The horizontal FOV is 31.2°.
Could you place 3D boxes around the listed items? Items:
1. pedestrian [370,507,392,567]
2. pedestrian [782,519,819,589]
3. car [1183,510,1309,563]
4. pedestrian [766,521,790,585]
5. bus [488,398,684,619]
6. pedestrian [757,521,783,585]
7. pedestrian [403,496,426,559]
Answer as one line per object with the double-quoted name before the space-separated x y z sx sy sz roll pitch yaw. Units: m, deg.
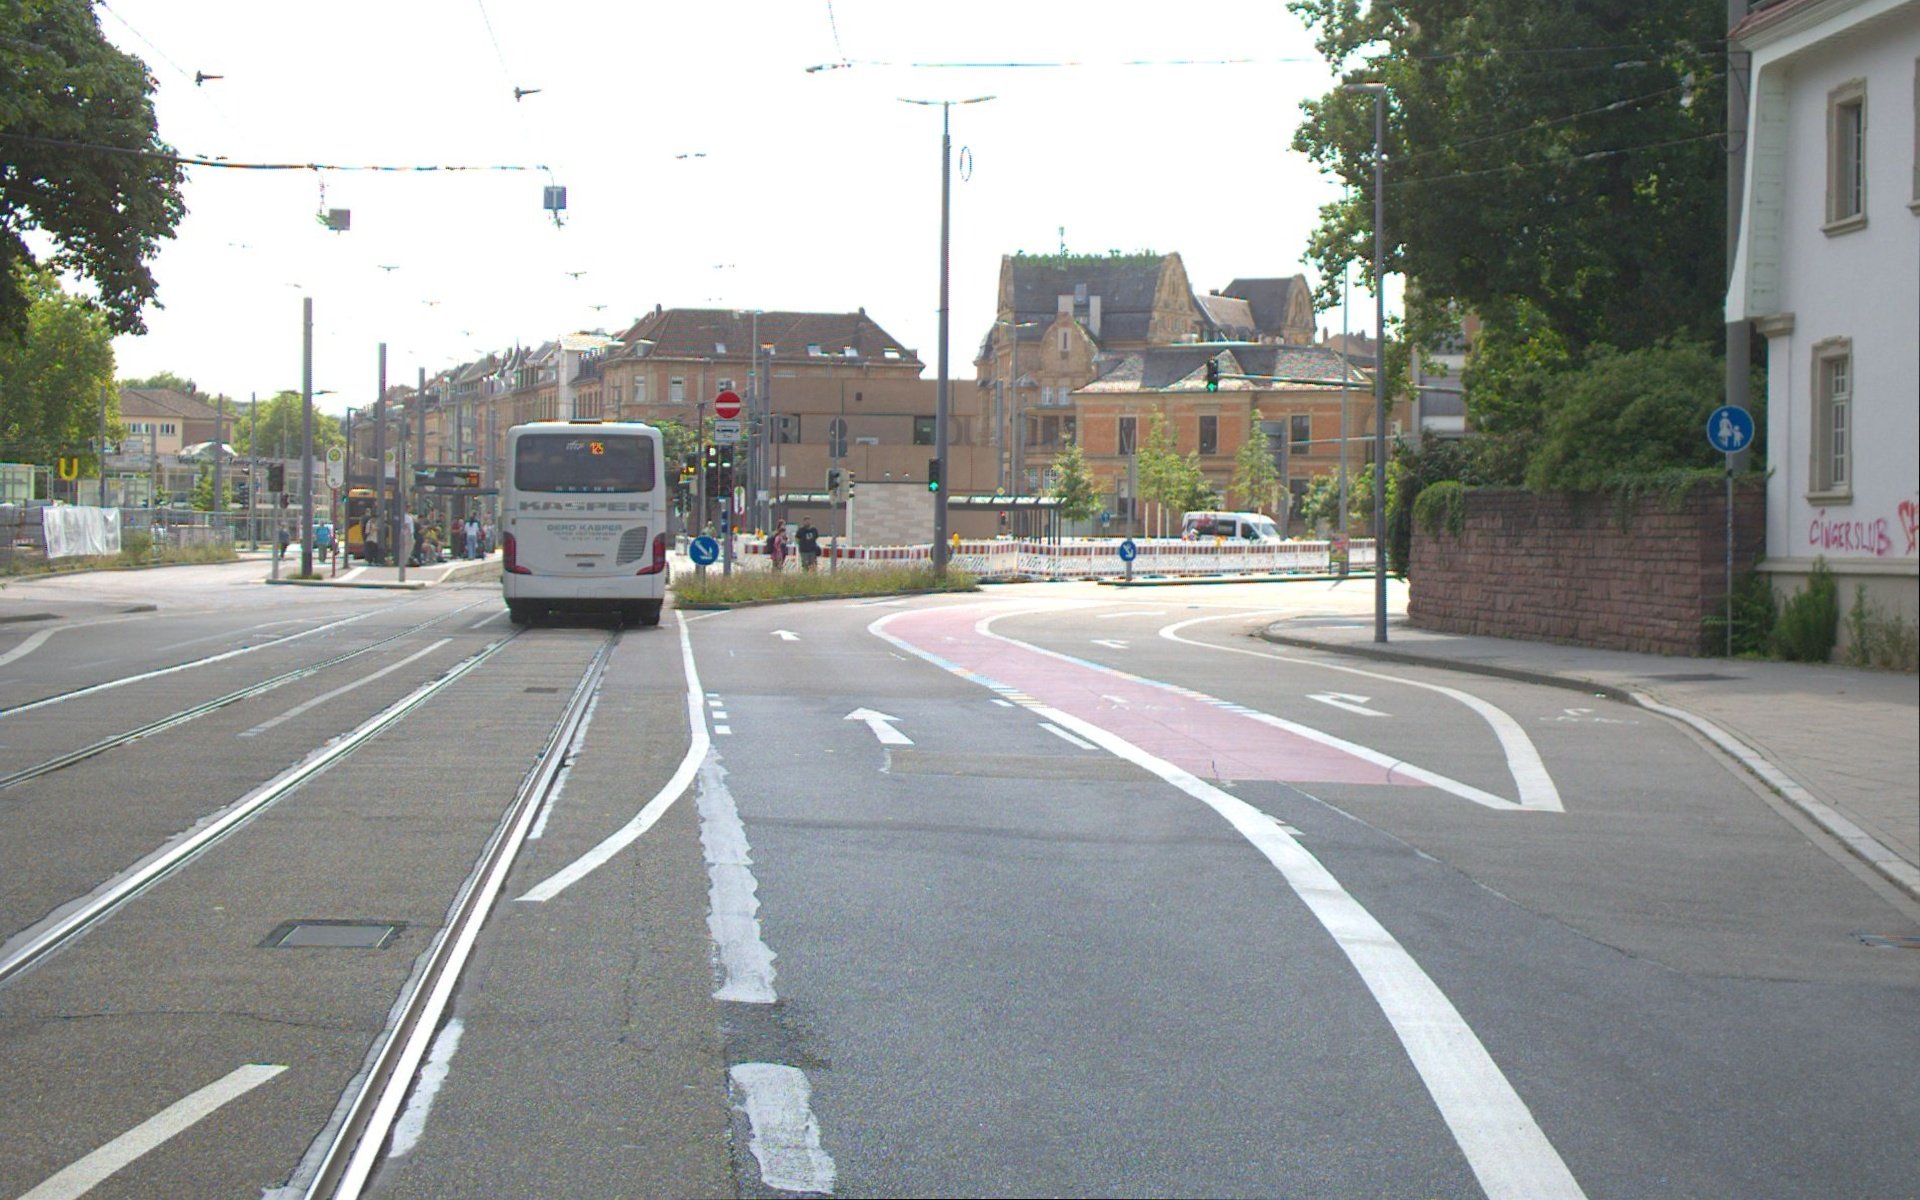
"pedestrian" -18.229 -1.995 108.247 0.611 1.878 0.794 1 1 -4
"pedestrian" -4.319 -1.242 93.143 0.791 1.878 0.613 0 2 -42
"car" 12.825 -2.873 154.362 2.295 2.311 5.587 0 1 -41
"pedestrian" -4.906 -1.268 92.500 0.409 1.730 0.620 1 1 21
"bus" -6.384 -1.505 59.225 2.917 3.316 12.209 2 1 -6
"pedestrian" -5.054 -1.255 91.625 0.611 1.701 0.623 1 1 3
"pedestrian" -16.453 -2.191 103.628 0.611 1.878 0.794 1 1 -4
